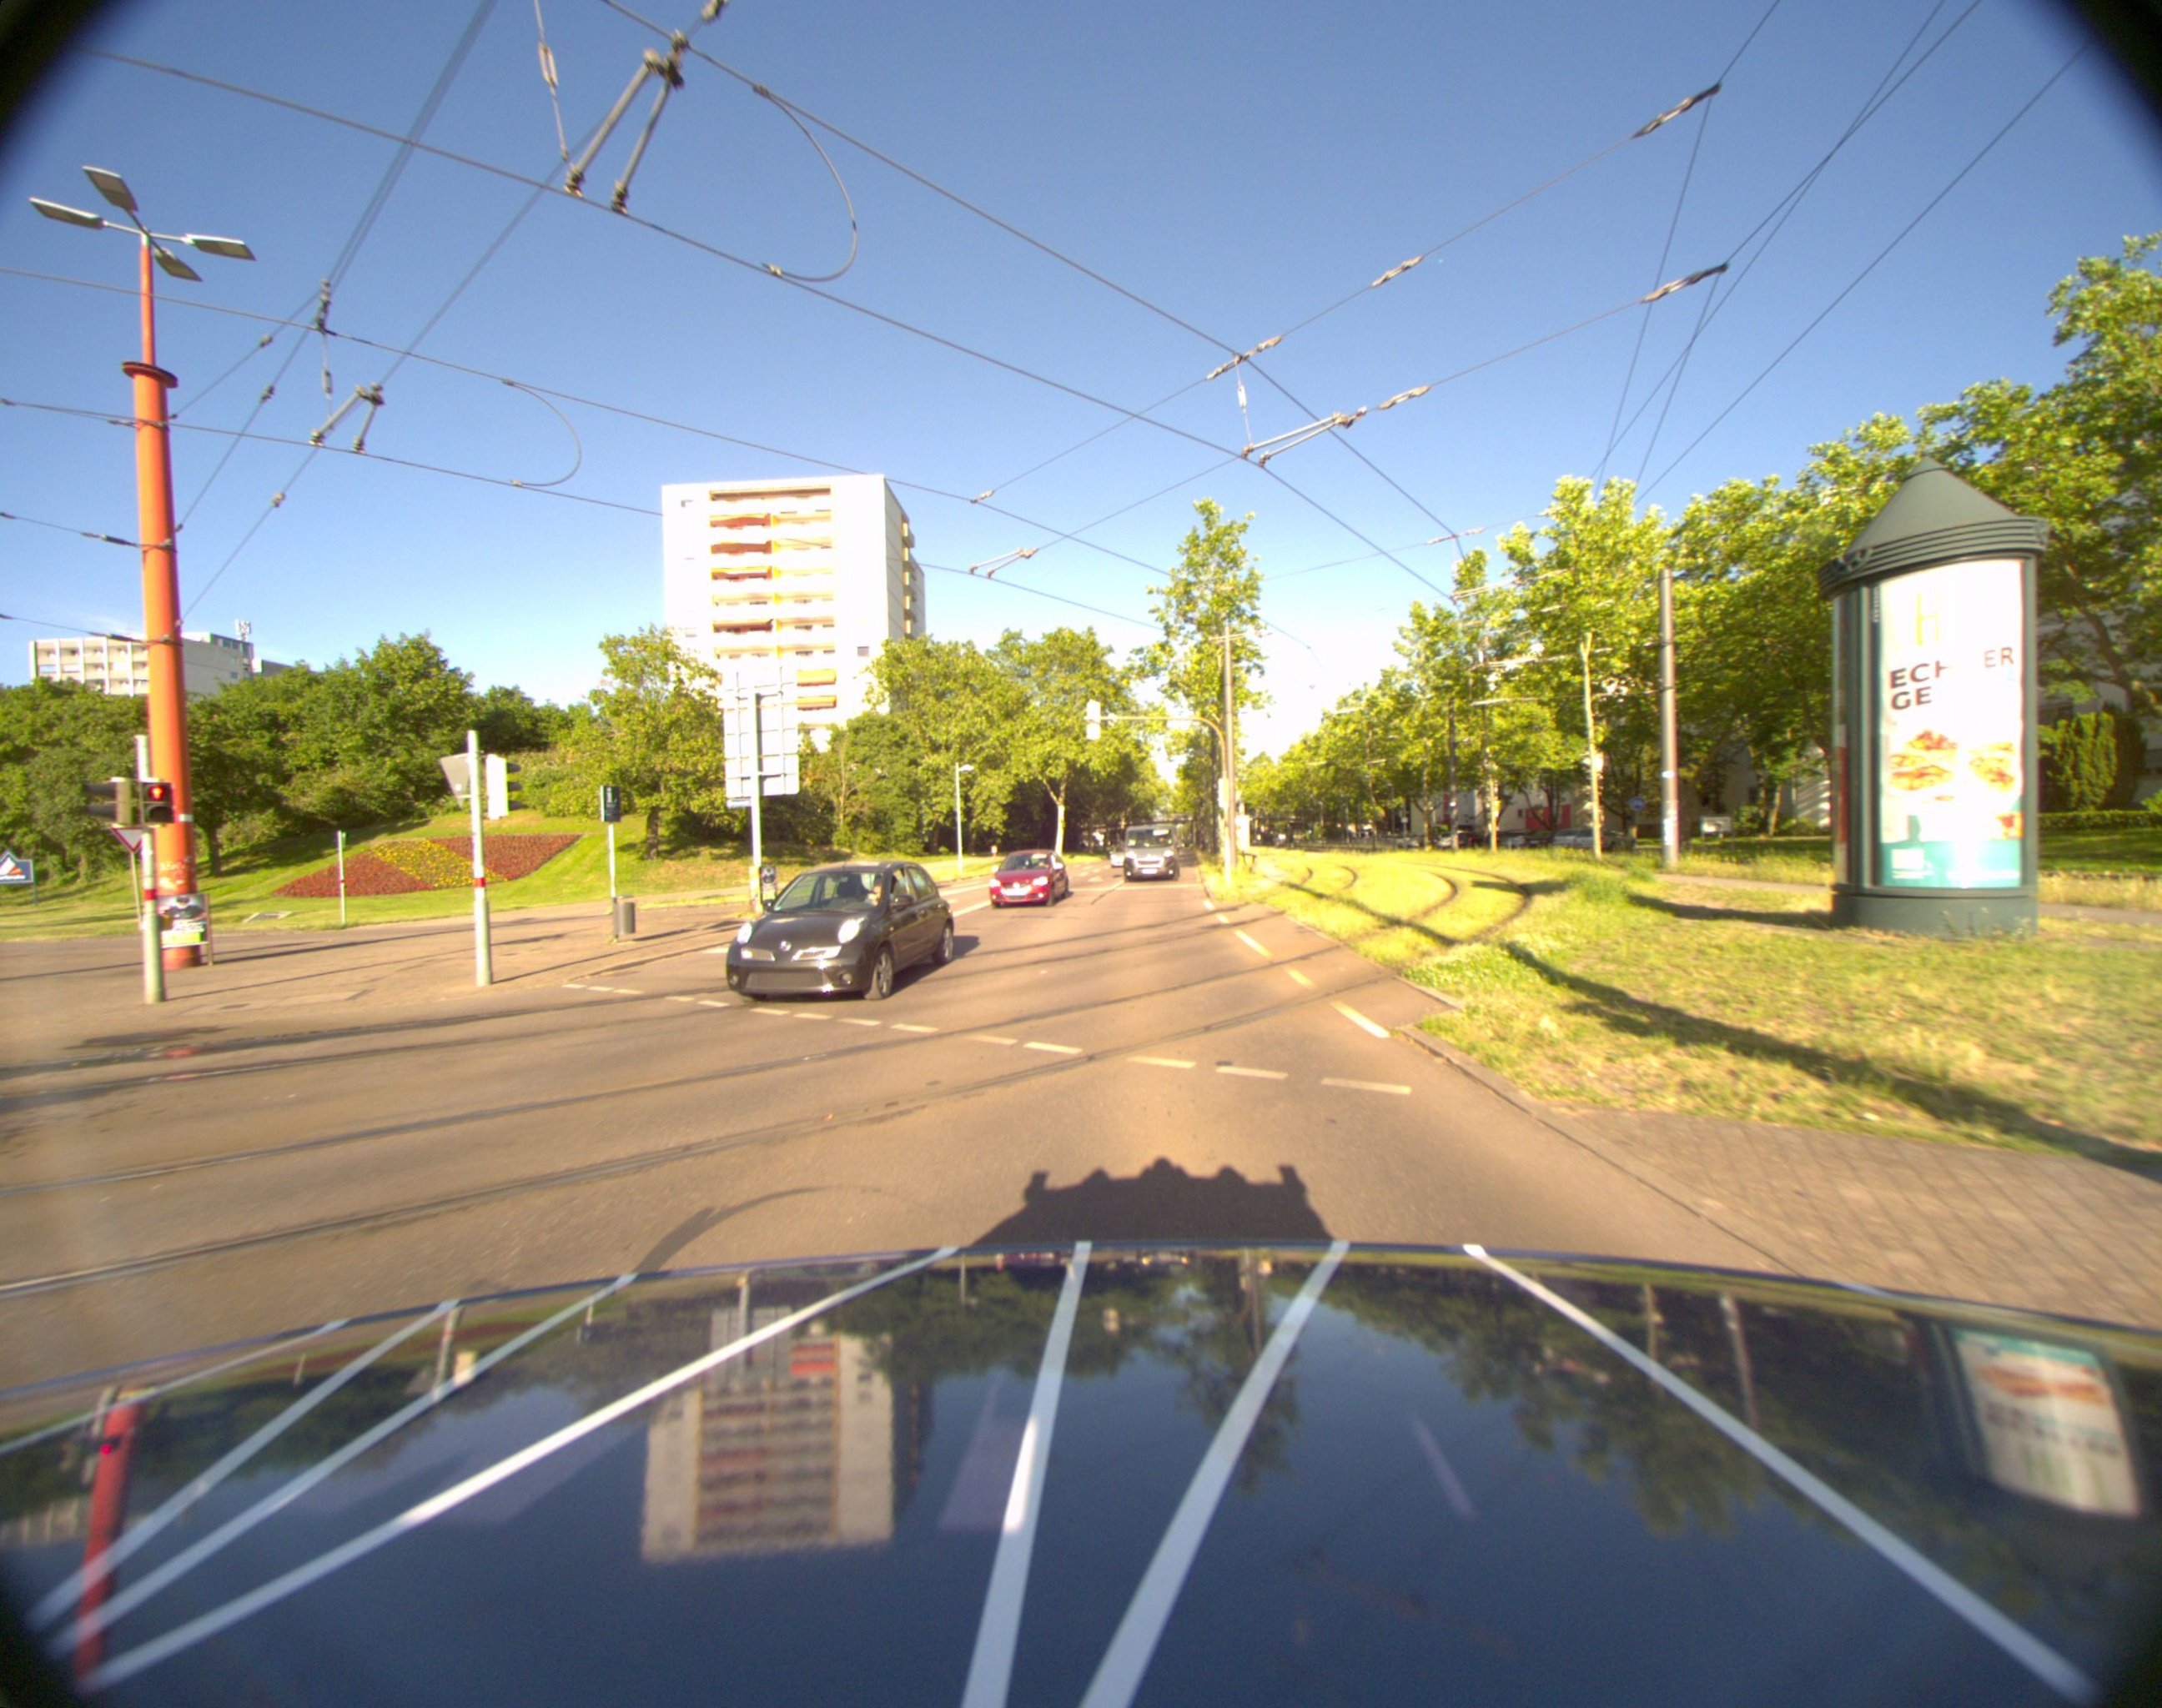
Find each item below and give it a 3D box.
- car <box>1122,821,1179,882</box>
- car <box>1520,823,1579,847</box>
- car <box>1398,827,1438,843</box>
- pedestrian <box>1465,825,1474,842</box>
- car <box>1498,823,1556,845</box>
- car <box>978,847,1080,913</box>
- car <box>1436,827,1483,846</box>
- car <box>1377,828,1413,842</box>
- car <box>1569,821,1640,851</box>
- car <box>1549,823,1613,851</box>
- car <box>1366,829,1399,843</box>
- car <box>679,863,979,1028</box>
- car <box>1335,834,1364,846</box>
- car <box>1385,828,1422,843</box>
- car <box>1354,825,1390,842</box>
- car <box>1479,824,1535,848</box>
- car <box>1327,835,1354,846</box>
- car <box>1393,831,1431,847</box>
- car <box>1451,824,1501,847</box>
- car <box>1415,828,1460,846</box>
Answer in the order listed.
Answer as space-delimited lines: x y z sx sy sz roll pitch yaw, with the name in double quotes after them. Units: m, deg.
2.899 -0.134 30.739 2.039 2.191 5.663 -2 1 7 "car"
30.125 -1.219 48.823 4.056 1.380 1.673 -3 0 -34 "car"
34.194 -1.924 76.994 4.056 1.490 1.791 -3 0 -35 "car"
45.939 -2.435 89.829 0.680 2.002 0.645 -2 1 4 "pedestrian"
30.718 -1.378 52.271 4.056 1.380 1.791 -3 0 -34 "car"
-1.294 0.621 21.020 1.771 1.549 4.729 -2 0 8 "car"
32.820 -1.537 65.839 4.055 1.490 1.791 -3 0 -32 "car"
35.758 -2.179 86.556 4.056 1.490 1.791 -3 0 -35 "car"
29.128 -0.986 42.240 4.056 1.478 1.810 -3 0 -34 "car"
30.210 -1.044 45.889 4.056 1.478 1.760 -3 0 -34 "car"
36.884 -2.230 93.036 4.056 1.490 1.791 -3 0 -35 "car"
-2.796 0.936 9.722 1.738 1.474 4.624 -2 0 7 "car"
38.279 -1.944 108.270 4.056 1.490 1.791 -3 0 -35 "car"
35.647 -2.015 83.888 4.056 1.490 1.791 -3 0 -35 "car"
36.766 -2.639 95.945 4.439 1.908 2.017 -3 0 -35 "car"
31.052 -1.322 55.324 4.055 1.490 1.791 -3 0 -32 "car"
40.319 -2.124 118.031 4.056 1.490 1.791 -3 0 -35 "car"
35.163 -1.632 80.729 4.056 1.490 1.791 -3 0 -35 "car"
32.452 -1.536 62.352 4.055 1.654 1.791 -3 0 -32 "car"
32.725 -1.560 69.756 4.055 1.490 1.791 -3 0 -32 "car"
